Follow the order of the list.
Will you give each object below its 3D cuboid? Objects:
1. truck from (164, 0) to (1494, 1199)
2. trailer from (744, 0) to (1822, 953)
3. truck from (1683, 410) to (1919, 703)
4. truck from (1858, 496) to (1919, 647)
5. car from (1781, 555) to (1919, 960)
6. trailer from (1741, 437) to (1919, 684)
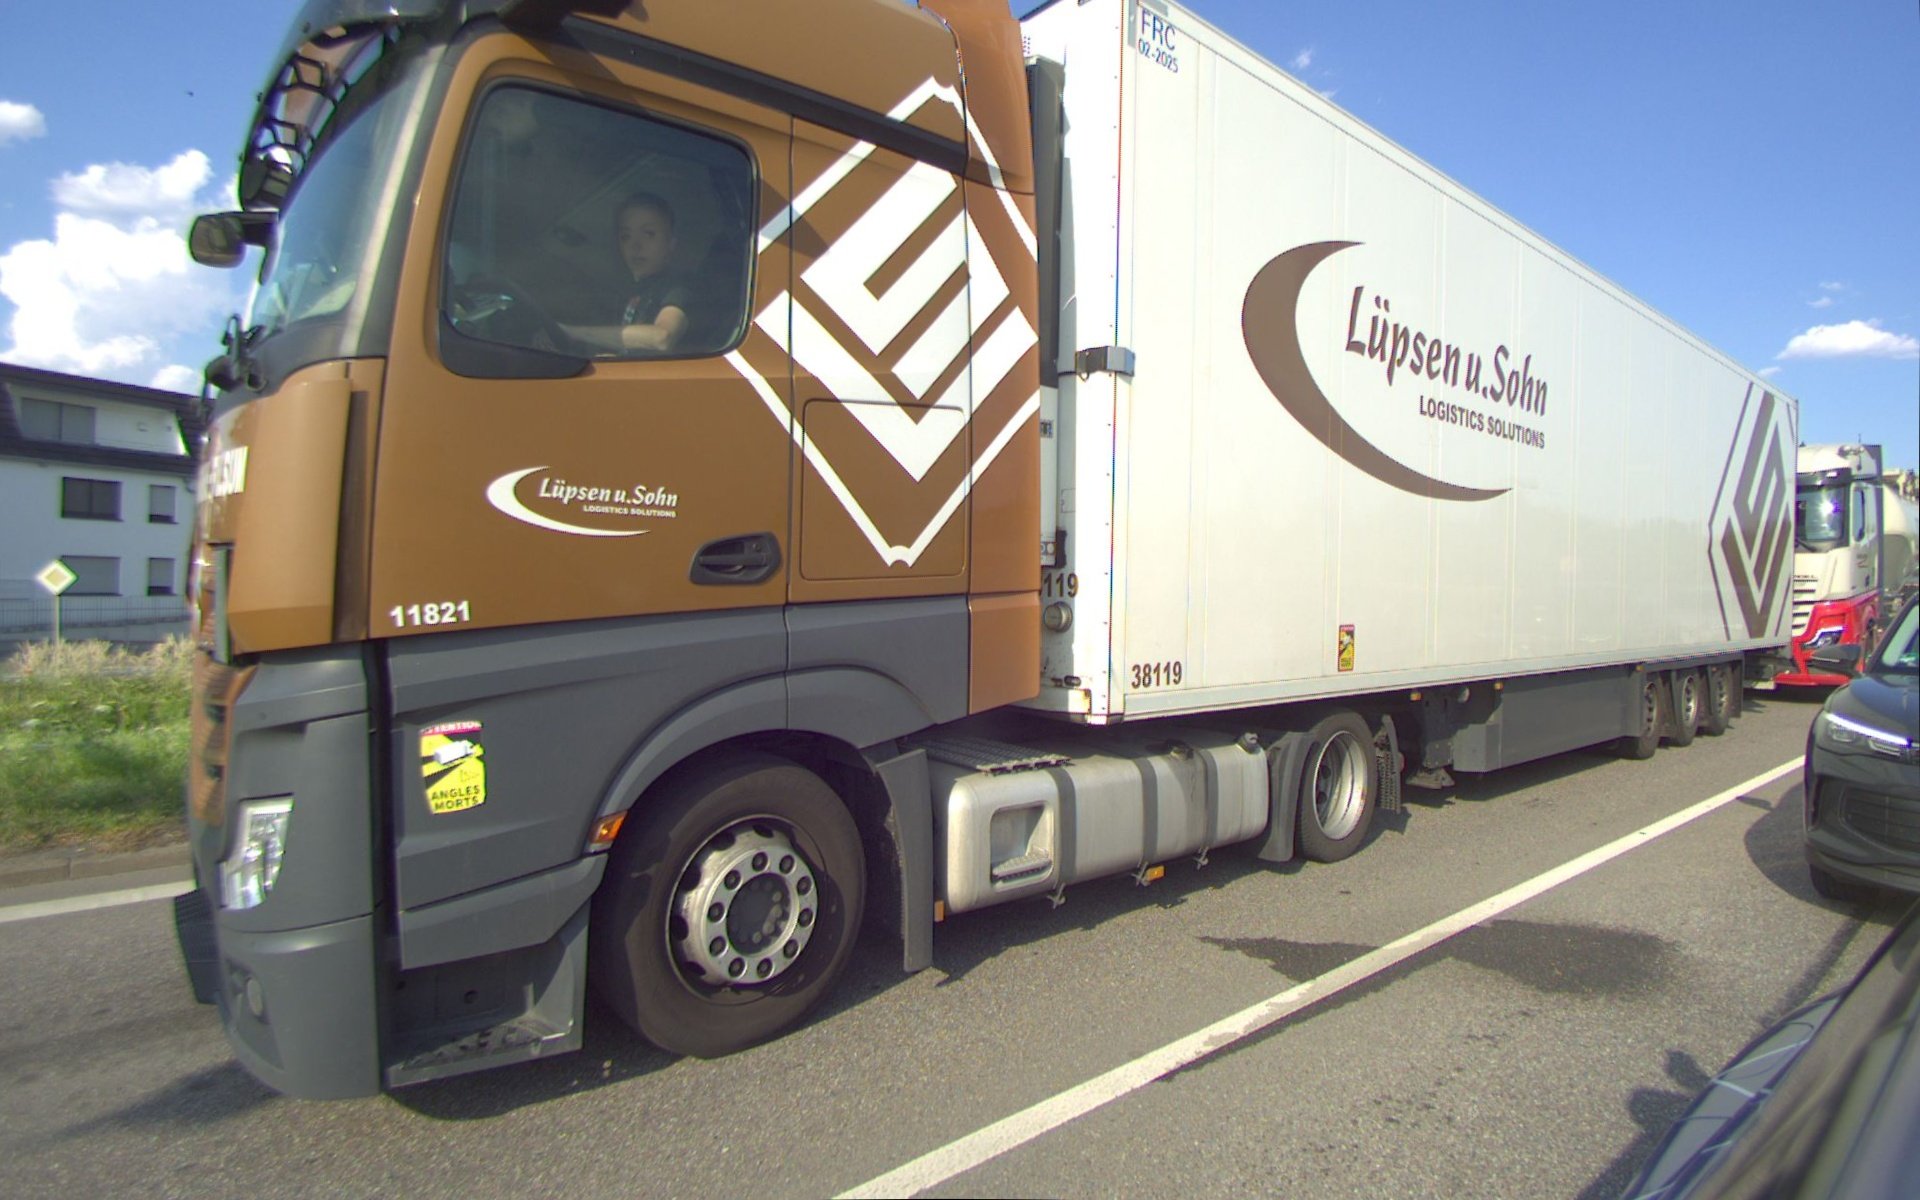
[{"bbox_3d":[0.052,-0.712,5.262,6.544,4.094,2.537,-1,0,-40],"label":"truck"},{"bbox_3d":[4.924,-0.737,9.408,14.083,4.118,2.536,0,0,-41],"label":"trailer"},{"bbox_3d":[13.577,-0.600,15.998,5.587,3.853,2.259,-1,0,-41],"label":"truck"},{"bbox_3d":[29.145,-0.776,29.621,12.671,3.821,2.527,-1,0,-40],"label":"truck"},{"bbox_3d":[5.888,0.622,5.176,4.389,1.650,1.787,-1,0,-39],"label":"car"},{"bbox_3d":[17.702,-0.640,19.576,9.358,3.825,2.262,0,-1,-41],"label":"trailer"}]
